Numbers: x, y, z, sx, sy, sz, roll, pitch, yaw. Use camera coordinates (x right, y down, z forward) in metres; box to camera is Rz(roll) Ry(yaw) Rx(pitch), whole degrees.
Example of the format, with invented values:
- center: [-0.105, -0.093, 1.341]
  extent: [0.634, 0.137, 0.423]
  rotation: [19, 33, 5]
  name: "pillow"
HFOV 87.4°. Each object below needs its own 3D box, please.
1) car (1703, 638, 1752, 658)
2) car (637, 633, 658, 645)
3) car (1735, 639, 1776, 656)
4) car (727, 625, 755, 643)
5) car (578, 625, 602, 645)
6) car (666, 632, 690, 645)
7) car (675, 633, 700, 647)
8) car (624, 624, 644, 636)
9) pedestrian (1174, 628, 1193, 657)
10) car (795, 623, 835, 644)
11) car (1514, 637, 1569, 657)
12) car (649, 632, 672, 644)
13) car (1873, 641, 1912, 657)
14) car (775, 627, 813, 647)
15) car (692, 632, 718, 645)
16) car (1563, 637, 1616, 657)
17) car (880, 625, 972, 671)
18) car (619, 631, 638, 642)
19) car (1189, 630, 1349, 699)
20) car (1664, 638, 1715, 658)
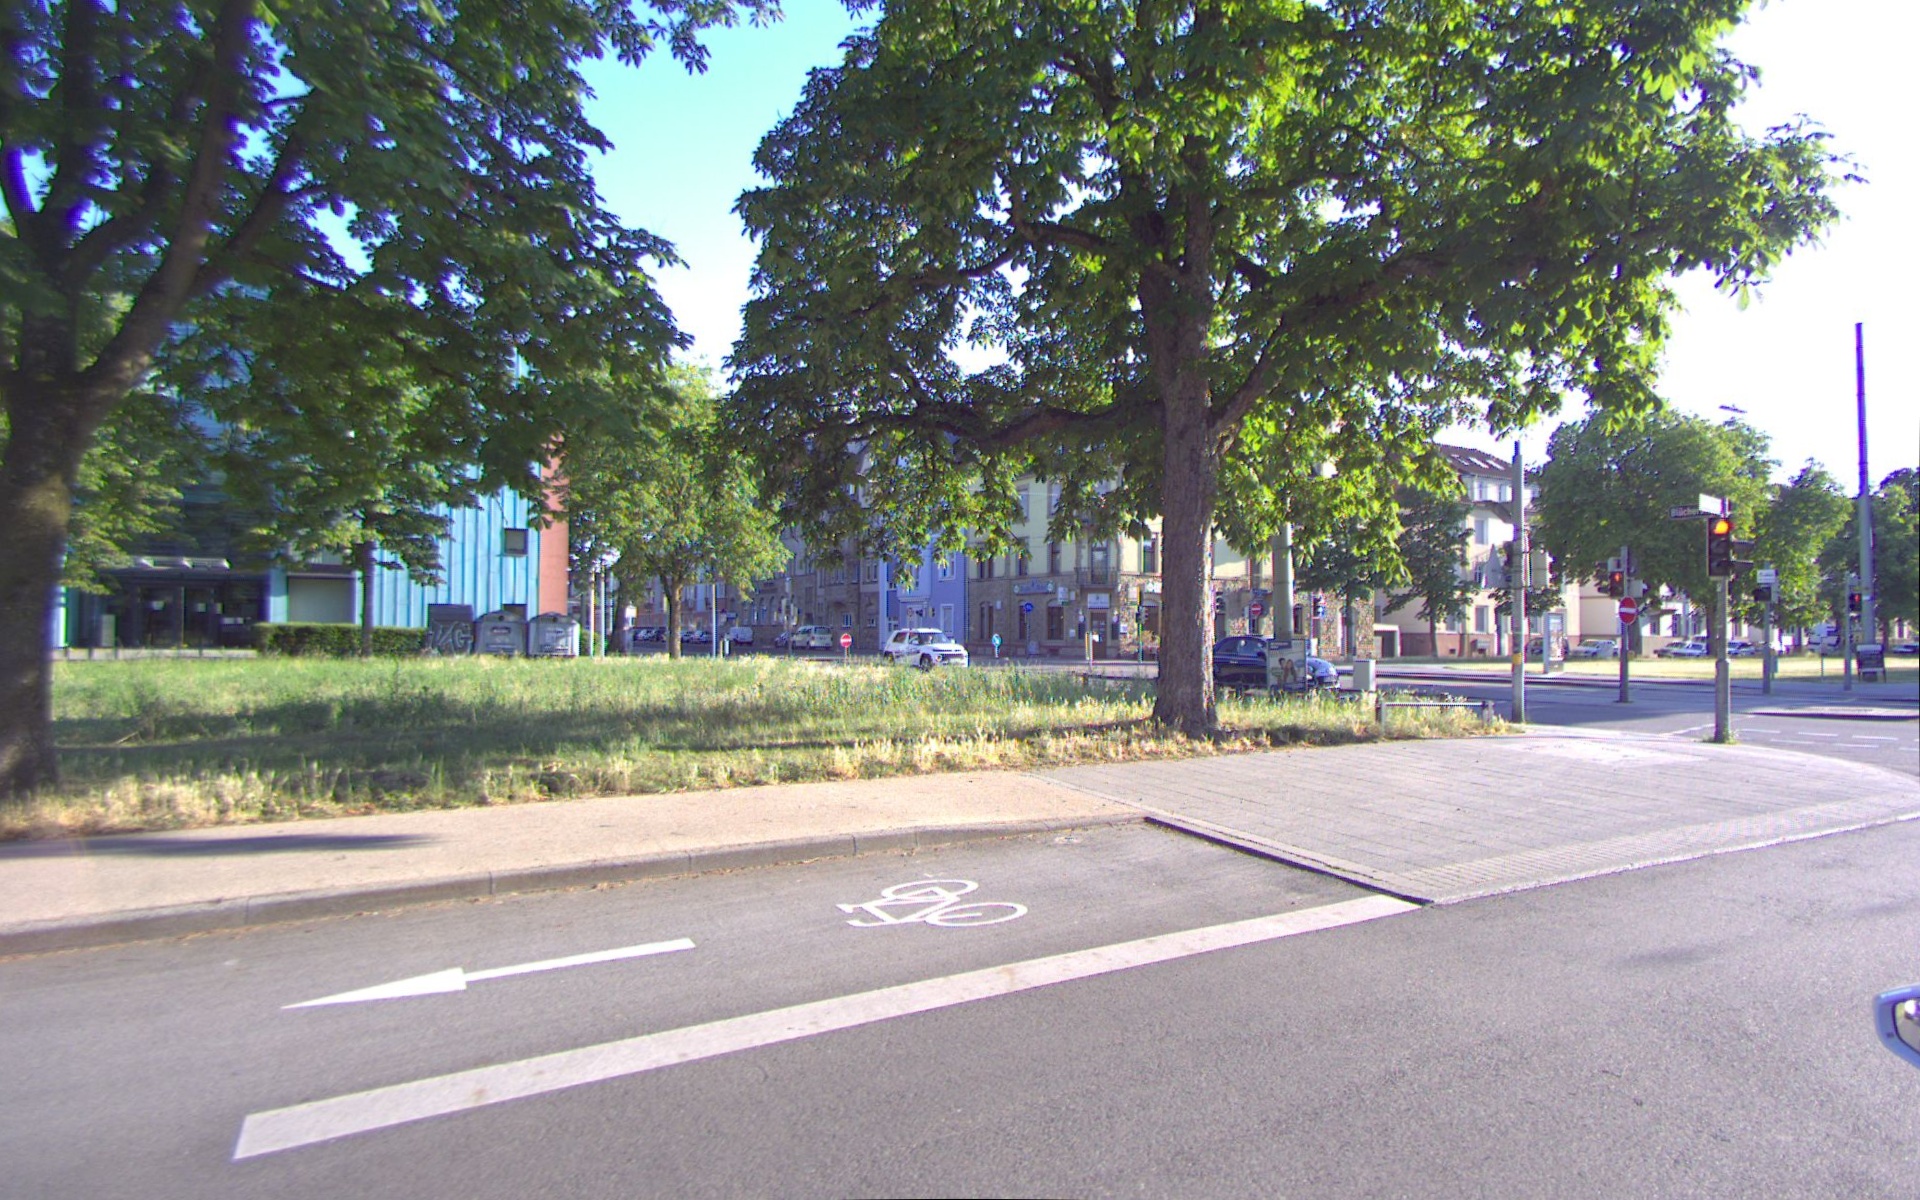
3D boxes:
- center: [59.380, 3.702, 77.705]
  extent: [3.746, 1.446, 1.730]
  rotation: [0, -1, -29]
  name: "car"
- center: [-39.489, 4.913, 126.777]
  extent: [1.866, 1.433, 4.015]
  rotation: [1, -1, -27]
  name: "car"
- center: [74.281, 4.436, 93.765]
  extent: [3.747, 1.446, 1.730]
  rotation: [2, -1, -29]
  name: "car"
- center: [-21.474, 3.320, 98.422]
  extent: [1.885, 1.610, 4.020]
  rotation: [3, -2, -24]
  name: "car"
- center: [-31.785, 2.983, 86.335]
  extent: [1.851, 1.685, 4.543]
  rotation: [1, -2, -20]
  name: "car"
- center: [-33.210, 4.547, 118.192]
  extent: [1.866, 1.433, 4.015]
  rotation: [1, -2, -27]
  name: "car"
- center: [-30.660, 4.481, 112.973]
  extent: [1.866, 1.433, 4.015]
  rotation: [1, -2, -27]
  name: "car"
- center: [-42.735, 3.912, 131.784]
  extent: [1.866, 1.433, 4.015]
  rotation: [1, -1, -27]
  name: "car"
- center: [13.239, 2.503, 59.508]
  extent: [0.807, 1.664, 0.719]
  rotation: [2, -1, -32]
  name: "pedestrian"
- center: [-11.941, 2.740, 82.438]
  extent: [2.073, 1.612, 4.016]
  rotation: [3, -2, -27]
  name: "car"
- center: [43.371, 3.498, 74.951]
  extent: [3.739, 1.416, 1.734]
  rotation: [1, -2, -24]
  name: "car"
- center: [-36.556, 4.643, 122.536]
  extent: [1.866, 1.433, 4.015]
  rotation: [1, -2, -27]
  name: "car"
- center: [88.712, 4.657, 95.555]
  extent: [3.747, 1.446, 1.730]
  rotation: [2, -1, -29]
  name: "car"
- center: [-14.405, 3.186, 87.108]
  extent: [2.073, 1.612, 4.016]
  rotation: [3, -2, -27]
  name: "car"
- center: [-27.515, 4.141, 108.243]
  extent: [1.866, 1.299, 4.015]
  rotation: [2, -2, -27]
  name: "car"
- center: [48.945, 3.643, 78.076]
  extent: [3.739, 1.446, 1.733]
  rotation: [1, -1, -24]
  name: "car"
- center: [-1.298, 1.742, 37.227]
  extent: [1.596, 1.572, 3.839]
  rotation: [1, -1, -35]
  name: "car"
- center: [-44.884, 4.966, 136.044]
  extent: [1.866, 1.433, 4.015]
  rotation: [1, -2, -27]
  name: "car"
- center: [7.667, 1.550, 25.125]
  extent: [1.598, 1.517, 3.567]
  rotation: [1, -1, -39]
  name: "car"
- center: [54.124, 3.543, 74.530]
  extent: [3.746, 1.446, 1.730]
  rotation: [1, -1, -29]
  name: "car"
